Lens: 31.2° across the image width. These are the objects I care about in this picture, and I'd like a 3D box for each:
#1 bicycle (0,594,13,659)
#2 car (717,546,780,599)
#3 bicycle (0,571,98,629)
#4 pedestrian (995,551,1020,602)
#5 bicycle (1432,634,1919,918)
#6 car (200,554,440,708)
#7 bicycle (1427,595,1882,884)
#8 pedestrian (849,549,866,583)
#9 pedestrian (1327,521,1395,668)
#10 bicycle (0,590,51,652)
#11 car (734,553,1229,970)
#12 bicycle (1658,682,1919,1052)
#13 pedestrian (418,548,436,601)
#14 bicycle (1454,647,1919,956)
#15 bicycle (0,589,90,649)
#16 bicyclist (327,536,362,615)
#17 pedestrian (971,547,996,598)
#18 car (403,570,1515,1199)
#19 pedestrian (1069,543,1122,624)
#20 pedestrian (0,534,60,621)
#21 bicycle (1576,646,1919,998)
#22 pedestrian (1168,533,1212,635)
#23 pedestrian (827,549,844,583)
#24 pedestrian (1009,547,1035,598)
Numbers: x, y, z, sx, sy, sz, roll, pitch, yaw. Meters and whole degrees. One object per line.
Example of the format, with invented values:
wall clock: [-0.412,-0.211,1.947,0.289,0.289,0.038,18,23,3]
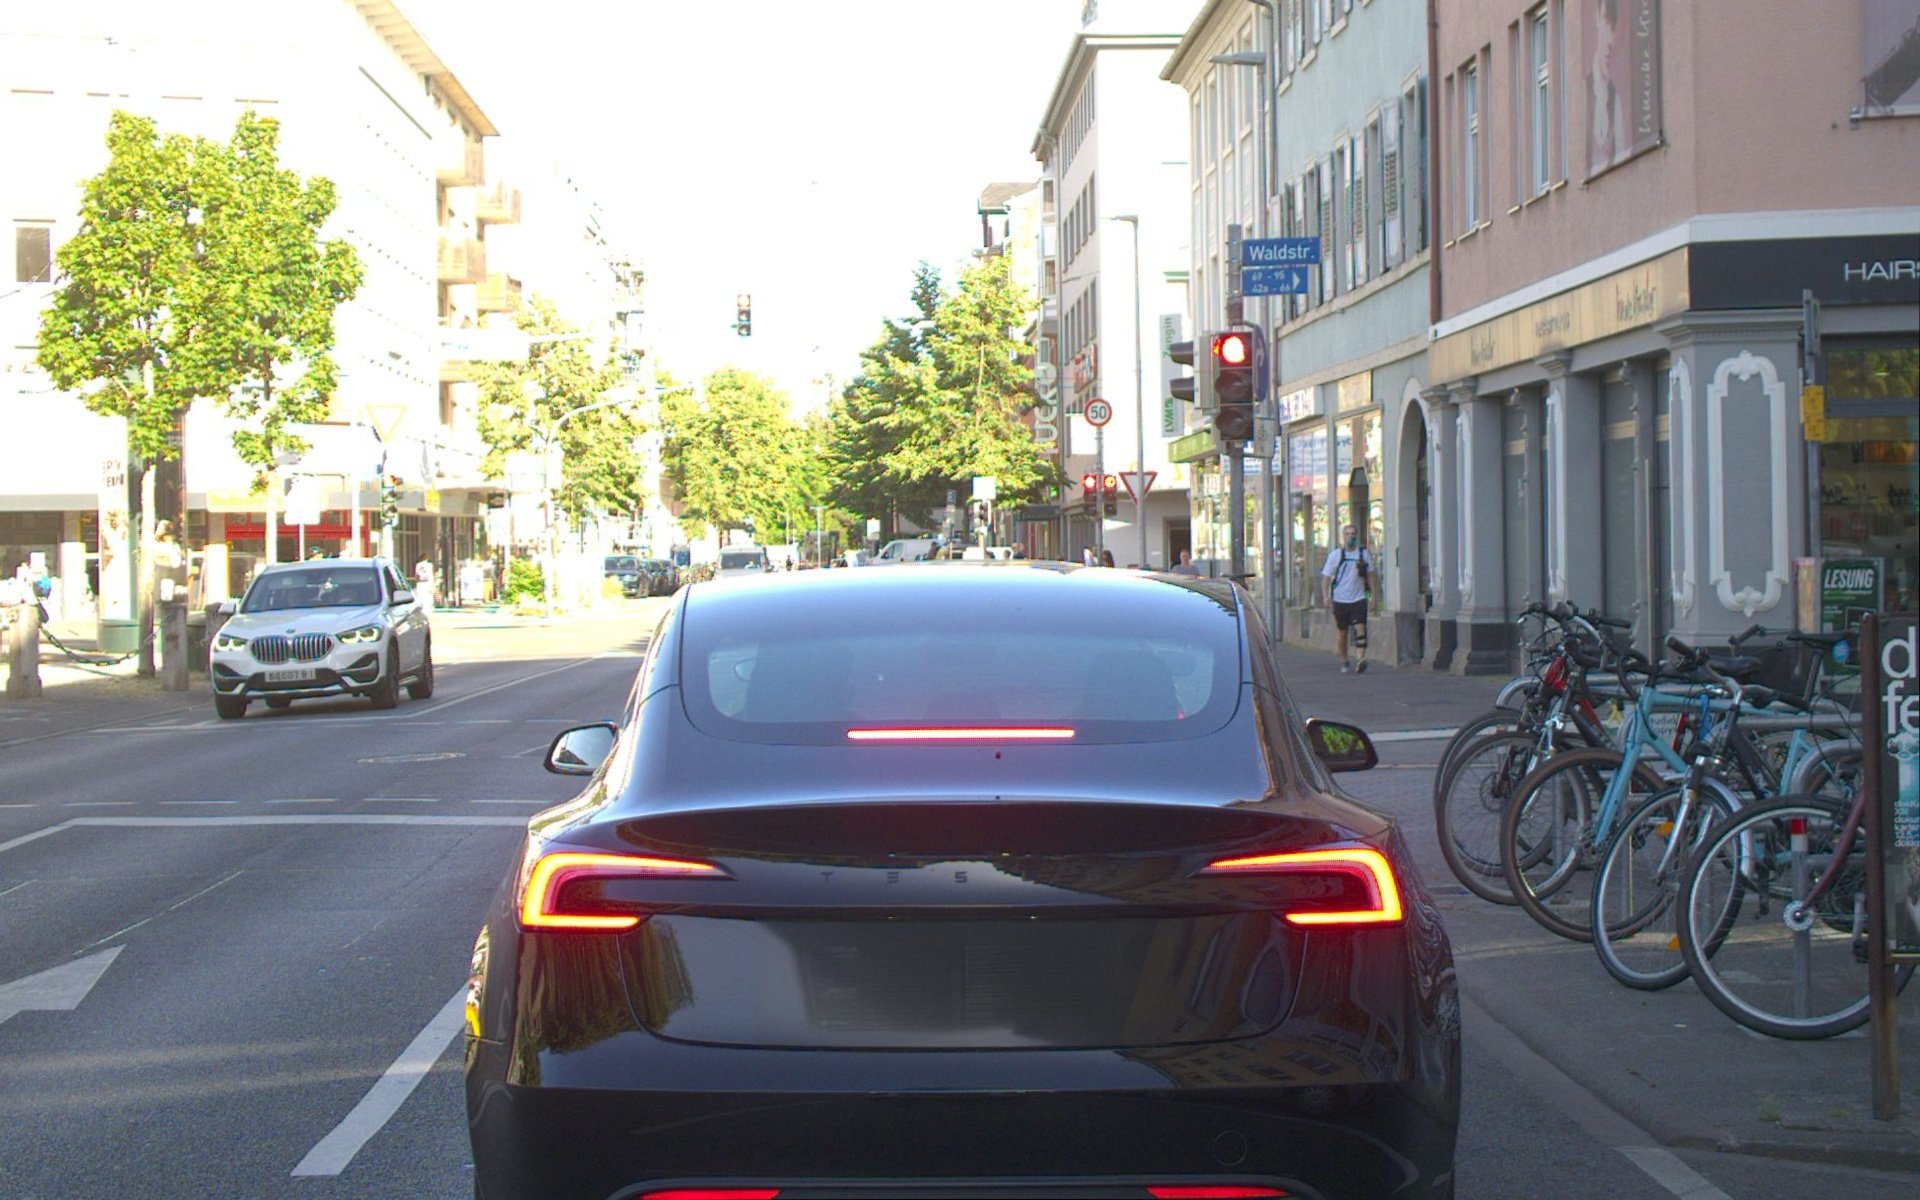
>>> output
bicycle: [-14.742,0.373,49.796,1.864,0.931,0.606,1,0,-1]
car: [-6.762,-0.901,110.281,1.787,1.640,4.403,1,1,-1]
bicycle: [-20.818,0.011,78.018,2.361,1.291,0.513,1,0,-26]
pedestrian: [1.317,-0.657,95.299,0.521,1.417,0.479,1,0,-30]
bicycle: [2.840,0.688,13.595,1.873,1.034,0.547,-2,0,5]
car: [-6.654,0.290,36.087,1.789,1.455,3.757,-2,1,0]
bicycle: [2.960,0.592,14.760,1.828,1.165,0.505,-2,0,5]
pedestrian: [-6.059,-1.995,203.064,0.930,2.007,0.938,1,0,-1]
pedestrian: [4.874,-0.067,41.834,0.750,1.759,0.836,1,0,4]
bicycle: [-14.809,0.322,52.203,1.864,0.931,0.606,0,1,-1]
car: [0.008,0.534,13.809,1.718,1.420,3.758,0,1,-2]
bicycle: [3.015,0.755,9.989,1.873,1.034,0.353,-2,0,6]
pedestrian: [-14.694,-0.709,94.862,0.459,1.455,0.518,0,1,-5]
bicycle: [2.772,0.720,12.463,1.873,1.034,0.533,-2,0,4]
bicycle: [-14.837,0.297,54.652,1.864,0.931,0.606,0,1,-1]
bicyclist: [-11.836,-0.474,66.109,0.522,1.498,0.476,1,0,-26]
pedestrian: [0.656,-0.769,95.693,0.472,1.412,0.522,1,0,-31]
car: [-0.024,0.656,7.638,1.822,1.437,4.000,0,1,-1]
pedestrian: [2.728,-0.336,69.356,0.754,1.626,0.956,1,0,-18]
pedestrian: [-21.759,-0.528,80.237,1.058,2.007,1.054,1,0,17]
bicycle: [2.990,0.702,11.168,1.873,1.084,0.414,-2,0,4]
pedestrian: [3.953,-0.276,59.027,0.706,1.736,0.540,0,1,-1]
pedestrian: [-7.349,-2.013,203.149,0.930,2.007,0.938,1,0,-1]
pedestrian: [1.735,-0.766,95.814,0.521,1.417,0.479,1,0,-30]
